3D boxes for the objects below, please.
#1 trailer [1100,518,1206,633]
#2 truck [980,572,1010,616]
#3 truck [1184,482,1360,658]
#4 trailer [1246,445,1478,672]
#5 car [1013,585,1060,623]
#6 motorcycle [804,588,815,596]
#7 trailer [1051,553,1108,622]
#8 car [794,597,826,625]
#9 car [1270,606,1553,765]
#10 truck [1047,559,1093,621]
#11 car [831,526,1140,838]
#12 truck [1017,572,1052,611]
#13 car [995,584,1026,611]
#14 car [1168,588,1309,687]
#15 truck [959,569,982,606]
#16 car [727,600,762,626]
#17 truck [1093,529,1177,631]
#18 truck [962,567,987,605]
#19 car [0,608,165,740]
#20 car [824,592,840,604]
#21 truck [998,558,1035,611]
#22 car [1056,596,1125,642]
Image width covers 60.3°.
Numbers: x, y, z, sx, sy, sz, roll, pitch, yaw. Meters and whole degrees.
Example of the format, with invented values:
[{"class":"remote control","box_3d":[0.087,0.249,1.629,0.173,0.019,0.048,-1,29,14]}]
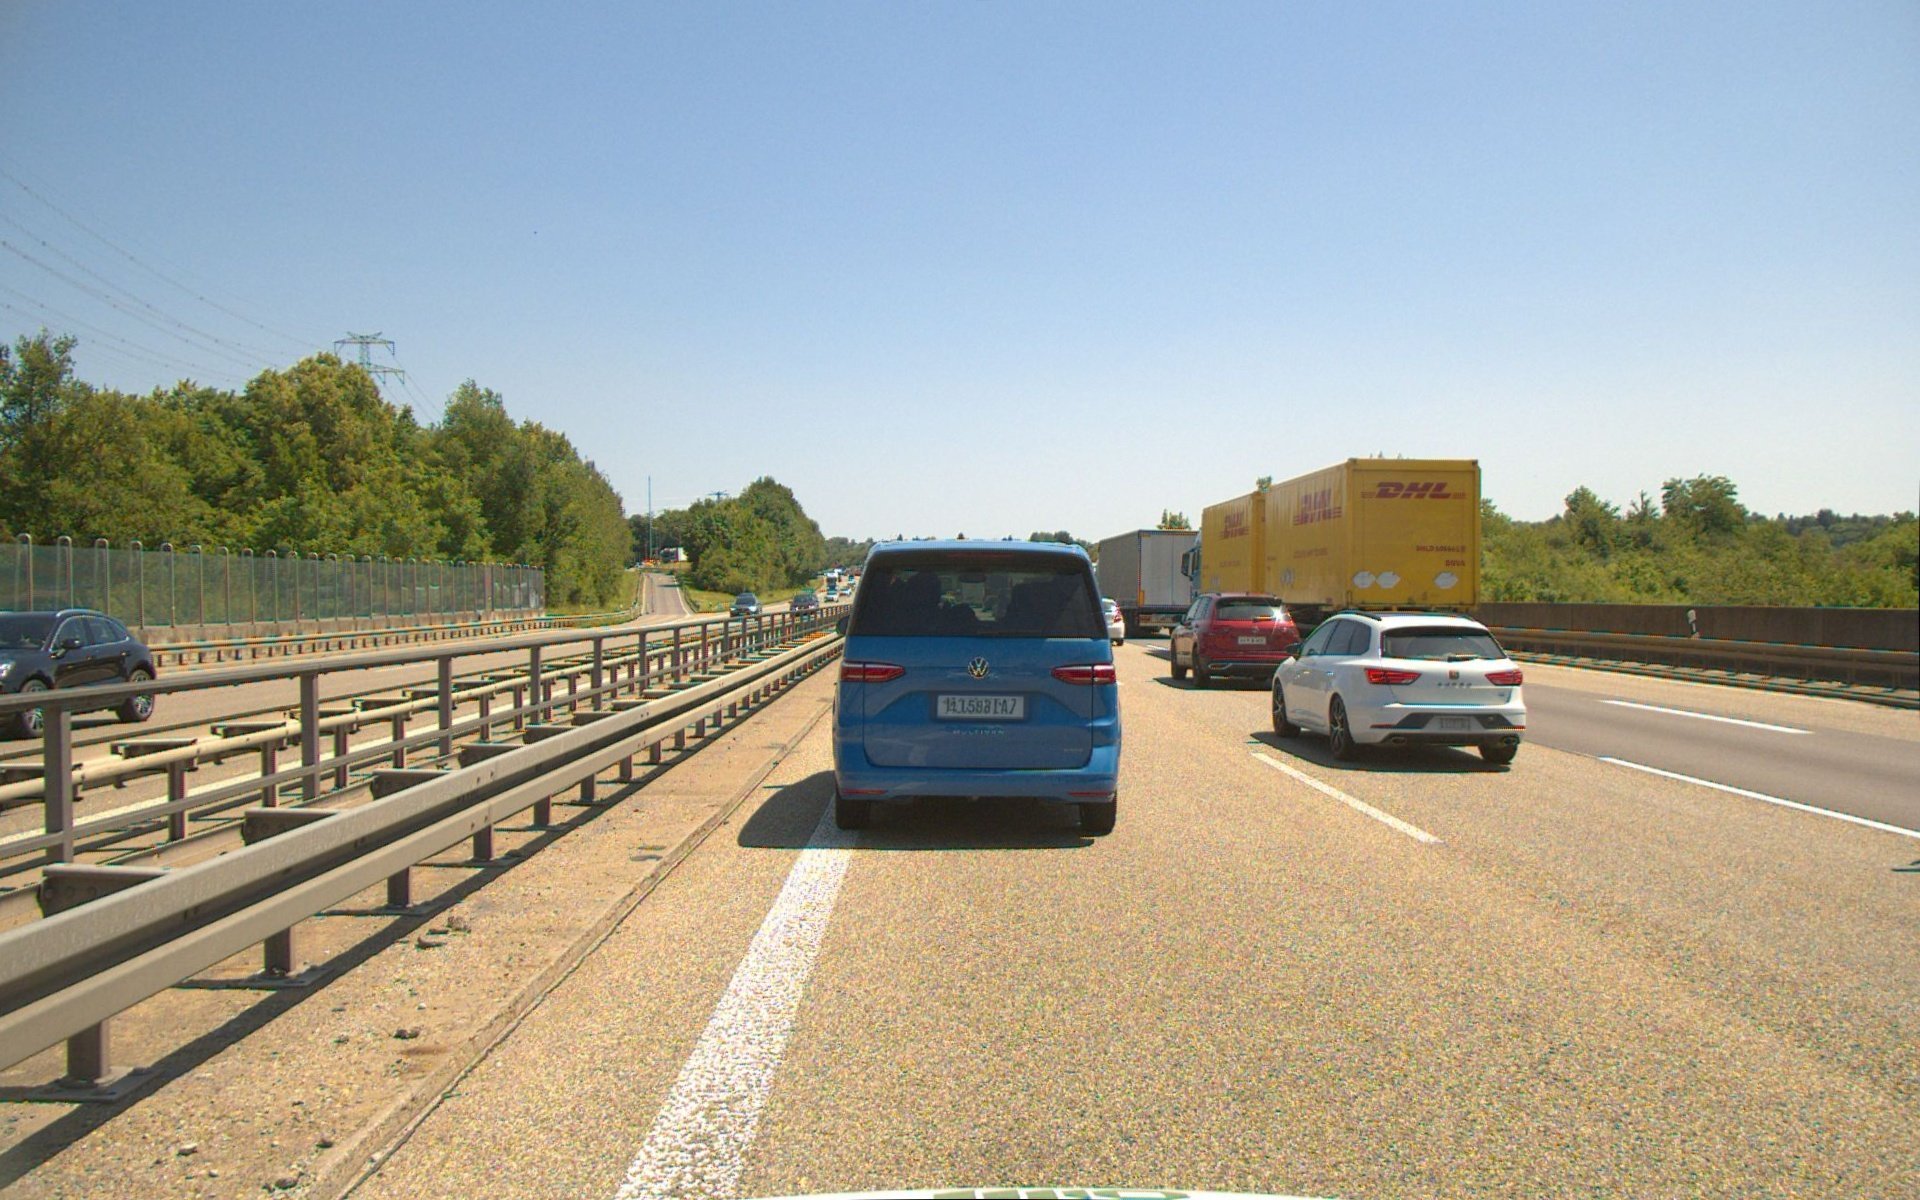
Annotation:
[{"class":"trailer","box_3d":[7.584,-0.861,66.540,2.699,4.219,11.309,1,0,-1]},{"class":"truck","box_3d":[4.120,-0.651,198.227,2.776,5.128,11.811,1,0,-2]},{"class":"truck","box_3d":[8.094,-0.672,44.383,2.666,4.125,10.335,1,0,0]},{"class":"trailer","box_3d":[8.126,-0.729,34.731,2.646,4.094,8.929,1,0,0]},{"class":"car","box_3d":[3.400,0.155,73.866,1.681,1.614,3.818,-1,0,-3]},{"class":"motorcycle","box_3d":[-22.311,-1.137,245.187,1.338,1.118,2.575,-3,0,-1]},{"class":"trailer","box_3d":[7.047,-0.655,98.791,2.331,3.809,11.185,1,0,-1]},{"class":"car","box_3d":[-9.573,0.677,105.671,1.719,1.751,4.100,-1,0,-1]},{"class":"car","box_3d":[4.492,0.786,17.097,1.745,1.411,4.187,0,0,-1]},{"class":"truck","box_3d":[6.940,-0.601,104.880,2.320,3.787,6.031,1,-1,-1]},{"class":"car","box_3d":[0.135,0.489,11.927,1.844,1.869,3.999,0,0,-1]},{"class":"truck","box_3d":[6.592,-0.683,146.939,2.308,3.275,9.736,1,0,-2]},{"class":"car","box_3d":[2.956,-0.157,97.684,1.680,1.567,3.820,-1,0,-1]},{"class":"car","box_3d":[4.923,0.618,29.719,1.813,1.636,4.000,0,1,-1]},{"class":"truck","box_3d":[1.546,-1.830,251.404,2.776,5.467,12.549,1,0,-2]},{"class":"car","box_3d":[-13.829,0.861,106.481,1.719,1.574,3.999,-2,0,-1]},{"class":"truck","box_3d":[7.492,-0.814,71.766,2.712,4.167,6.982,1,-1,-1]},{"class":"truck","box_3d":[1.943,-1.930,230.204,2.777,4.971,13.215,-1,0,-2]},{"class":"car","box_3d":[-12.631,0.943,22.282,1.744,1.596,4.386,-2,0,-1]},{"class":"car","box_3d":[-17.117,-0.260,220.949,1.871,1.418,4.164,-2,0,-1]},{"class":"truck","box_3d":[5.590,-1.455,164.603,2.776,5.128,11.141,1,0,-2]},{"class":"car","box_3d":[4.202,0.589,53.719,1.801,1.438,3.998,0,0,-2]}]
